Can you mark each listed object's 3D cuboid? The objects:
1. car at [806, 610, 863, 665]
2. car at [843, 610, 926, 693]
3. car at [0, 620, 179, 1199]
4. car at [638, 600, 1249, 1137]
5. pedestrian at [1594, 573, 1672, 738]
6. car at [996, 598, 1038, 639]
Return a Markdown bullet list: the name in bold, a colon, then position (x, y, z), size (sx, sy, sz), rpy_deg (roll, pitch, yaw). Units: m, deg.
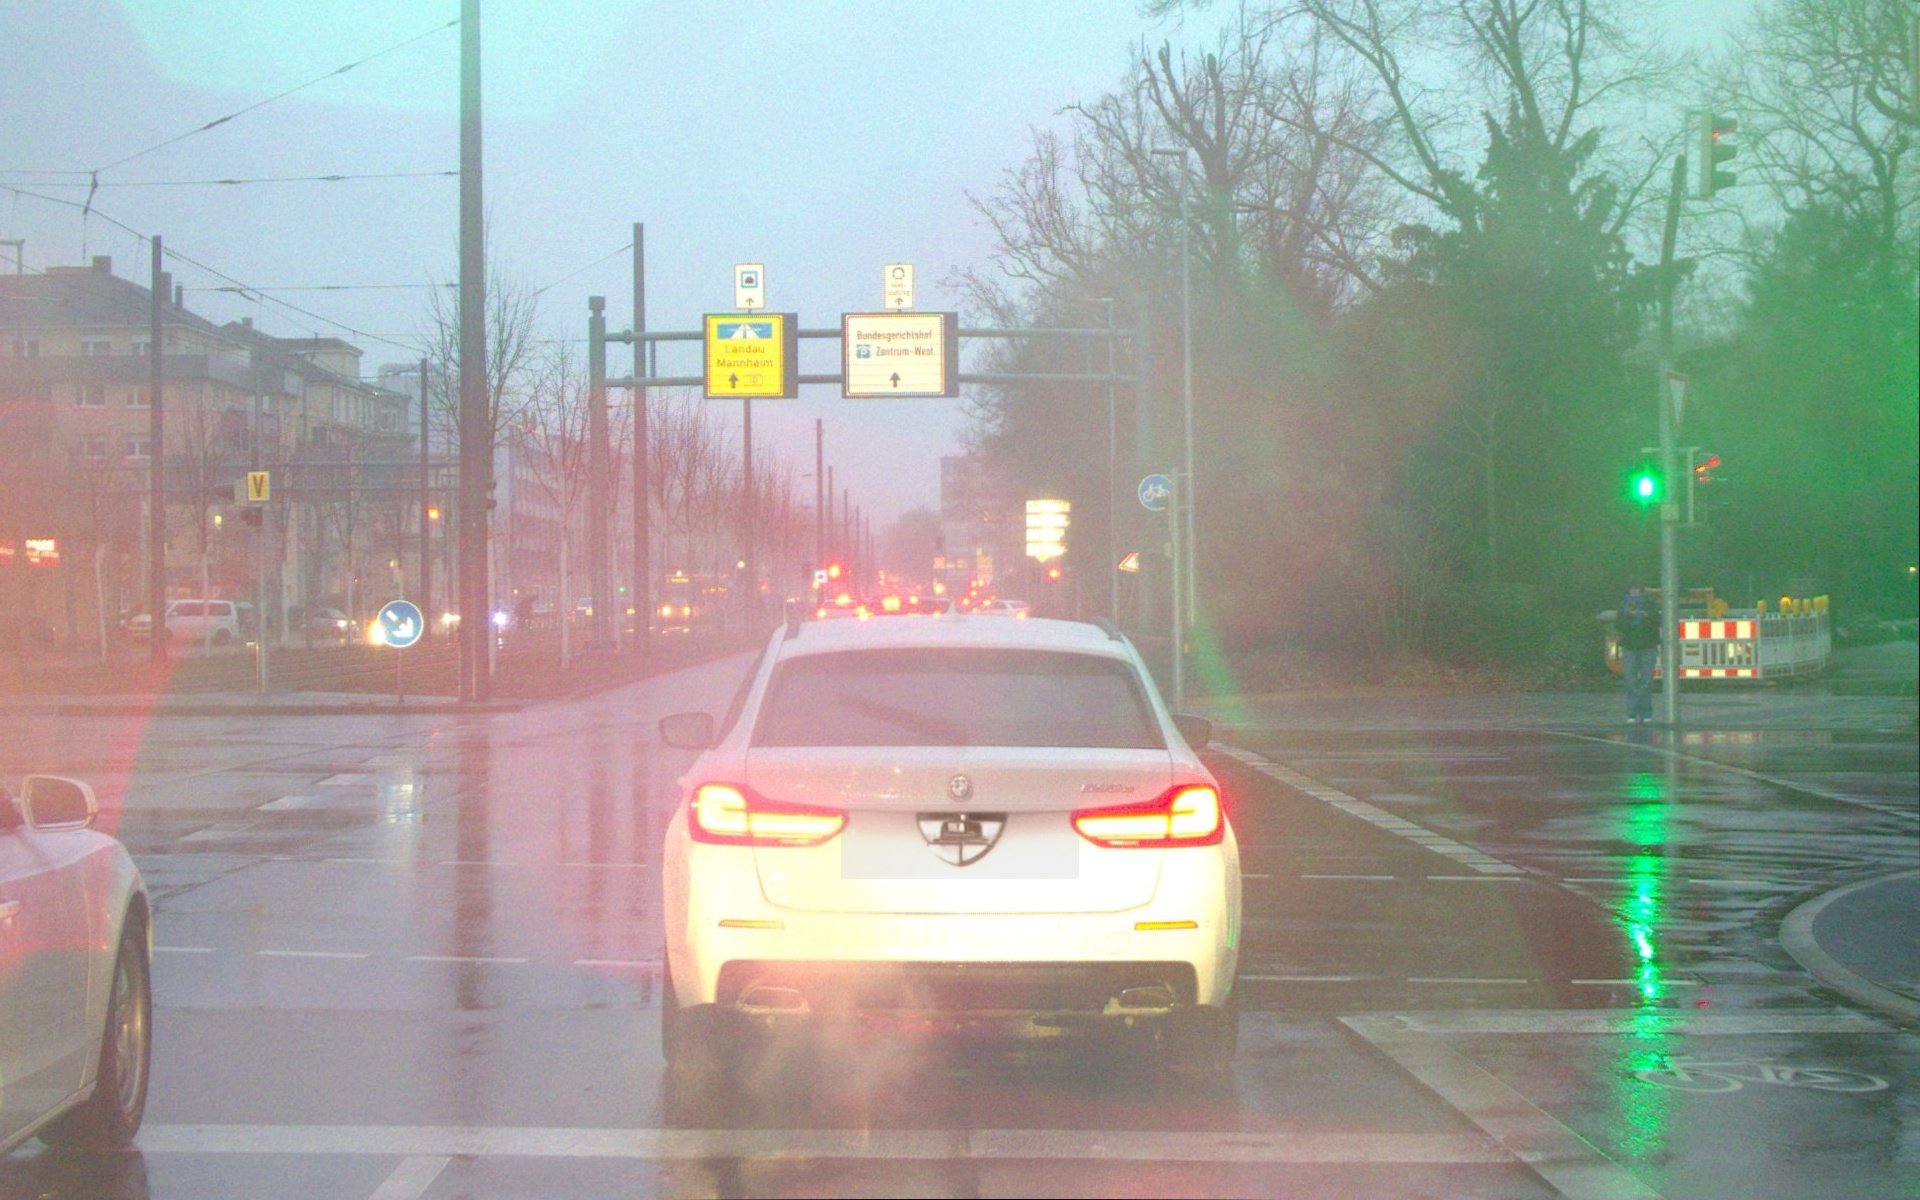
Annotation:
- **car**: position (-4.673, 1.384, 128.574), size (1.993, 2.007, 4.000), rpy_deg (1, 0, -1)
- **car**: position (-1.851, 1.255, 85.354), size (1.993, 2.007, 4.000), rpy_deg (1, 0, -1)
- **car**: position (-2.982, 0.777, 7.497), size (1.759, 1.465, 4.252), rpy_deg (1, 0, -3)
- **car**: position (-0.143, 0.789, 12.091), size (1.759, 1.547, 4.252), rpy_deg (1, 0, -3)
- **pedestrian**: position (7.745, 0.634, 39.563), size (0.673, 1.873, 0.715), rpy_deg (1, 0, -7)
- **car**: position (2.861, 0.927, 172.997), size (1.993, 2.007, 4.000), rpy_deg (1, 0, -1)
